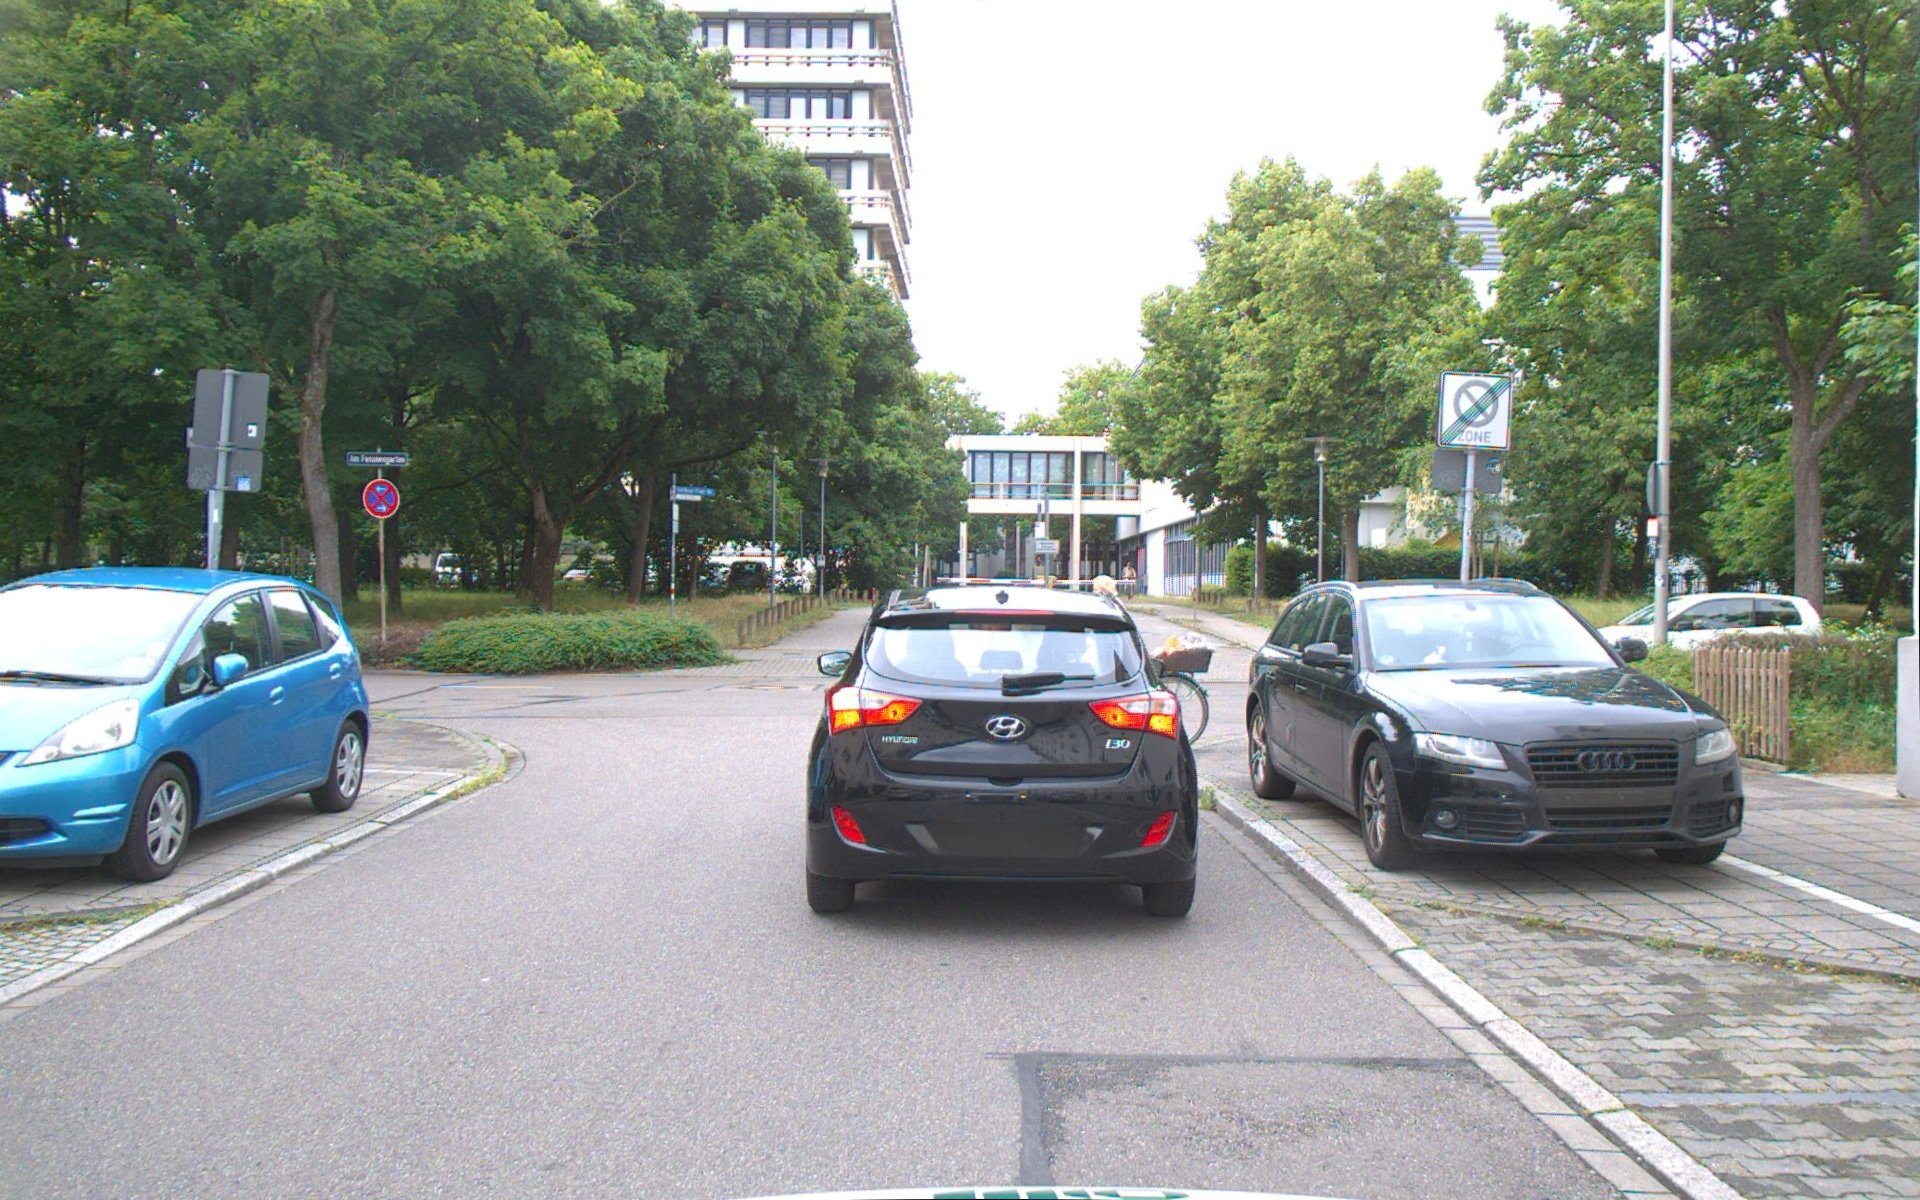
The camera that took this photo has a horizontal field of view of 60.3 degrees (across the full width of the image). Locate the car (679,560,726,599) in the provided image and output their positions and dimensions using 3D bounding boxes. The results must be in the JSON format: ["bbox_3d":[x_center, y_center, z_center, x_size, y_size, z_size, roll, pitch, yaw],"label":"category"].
[{"bbox_3d":[-12.636,-0.996,81.429,1.954,1.825,3.996,0,-1,-4],"label":"car"}]

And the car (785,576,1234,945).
[{"bbox_3d":[0.123,0.644,8.632,1.809,1.488,3.826,1,0,-3],"label":"car"}]

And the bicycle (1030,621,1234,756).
[{"bbox_3d":[1.580,0.800,15.261,1.779,1.139,0.537,-2,1,-9],"label":"bicycle"}]

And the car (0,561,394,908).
[{"bbox_3d":[-4.742,0.565,9.380,1.695,1.488,3.956,3,1,-1],"label":"car"}]

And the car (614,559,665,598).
[{"bbox_3d":[-15.677,-1.038,81.074,1.954,1.758,3.996,0,-1,-4],"label":"car"}]

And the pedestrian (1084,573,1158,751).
[{"bbox_3d":[1.460,0.551,15.017,0.555,1.576,0.447,-2,1,-8],"label":"pedestrian"}]

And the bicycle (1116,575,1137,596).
[{"bbox_3d":[8.596,-0.754,85.452,0.849,1.093,2.142,0,1,1],"label":"bicycle"}]

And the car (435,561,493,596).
[{"bbox_3d":[-24.426,-1.062,81.595,1.880,1.646,3.997,0,1,-4],"label":"car"}]

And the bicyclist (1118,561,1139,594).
[{"bbox_3d":[8.688,-1.152,85.372,0.996,1.673,0.923,0,1,0],"label":"bicyclist"}]

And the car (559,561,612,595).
[{"bbox_3d":[-18.343,-1.073,81.120,1.954,1.646,3.997,0,1,-4],"label":"car"}]

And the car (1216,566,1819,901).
[{"bbox_3d":[2.884,0.560,9.811,1.823,1.488,4.724,-1,1,-2],"label":"car"}]

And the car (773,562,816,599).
[{"bbox_3d":[-8.134,-0.933,81.530,1.954,1.792,3.996,0,0,-4],"label":"car"}]

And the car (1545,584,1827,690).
[{"bbox_3d":[10.606,0.527,24.304,3.461,1.462,1.566,0,1,-3],"label":"car"}]
